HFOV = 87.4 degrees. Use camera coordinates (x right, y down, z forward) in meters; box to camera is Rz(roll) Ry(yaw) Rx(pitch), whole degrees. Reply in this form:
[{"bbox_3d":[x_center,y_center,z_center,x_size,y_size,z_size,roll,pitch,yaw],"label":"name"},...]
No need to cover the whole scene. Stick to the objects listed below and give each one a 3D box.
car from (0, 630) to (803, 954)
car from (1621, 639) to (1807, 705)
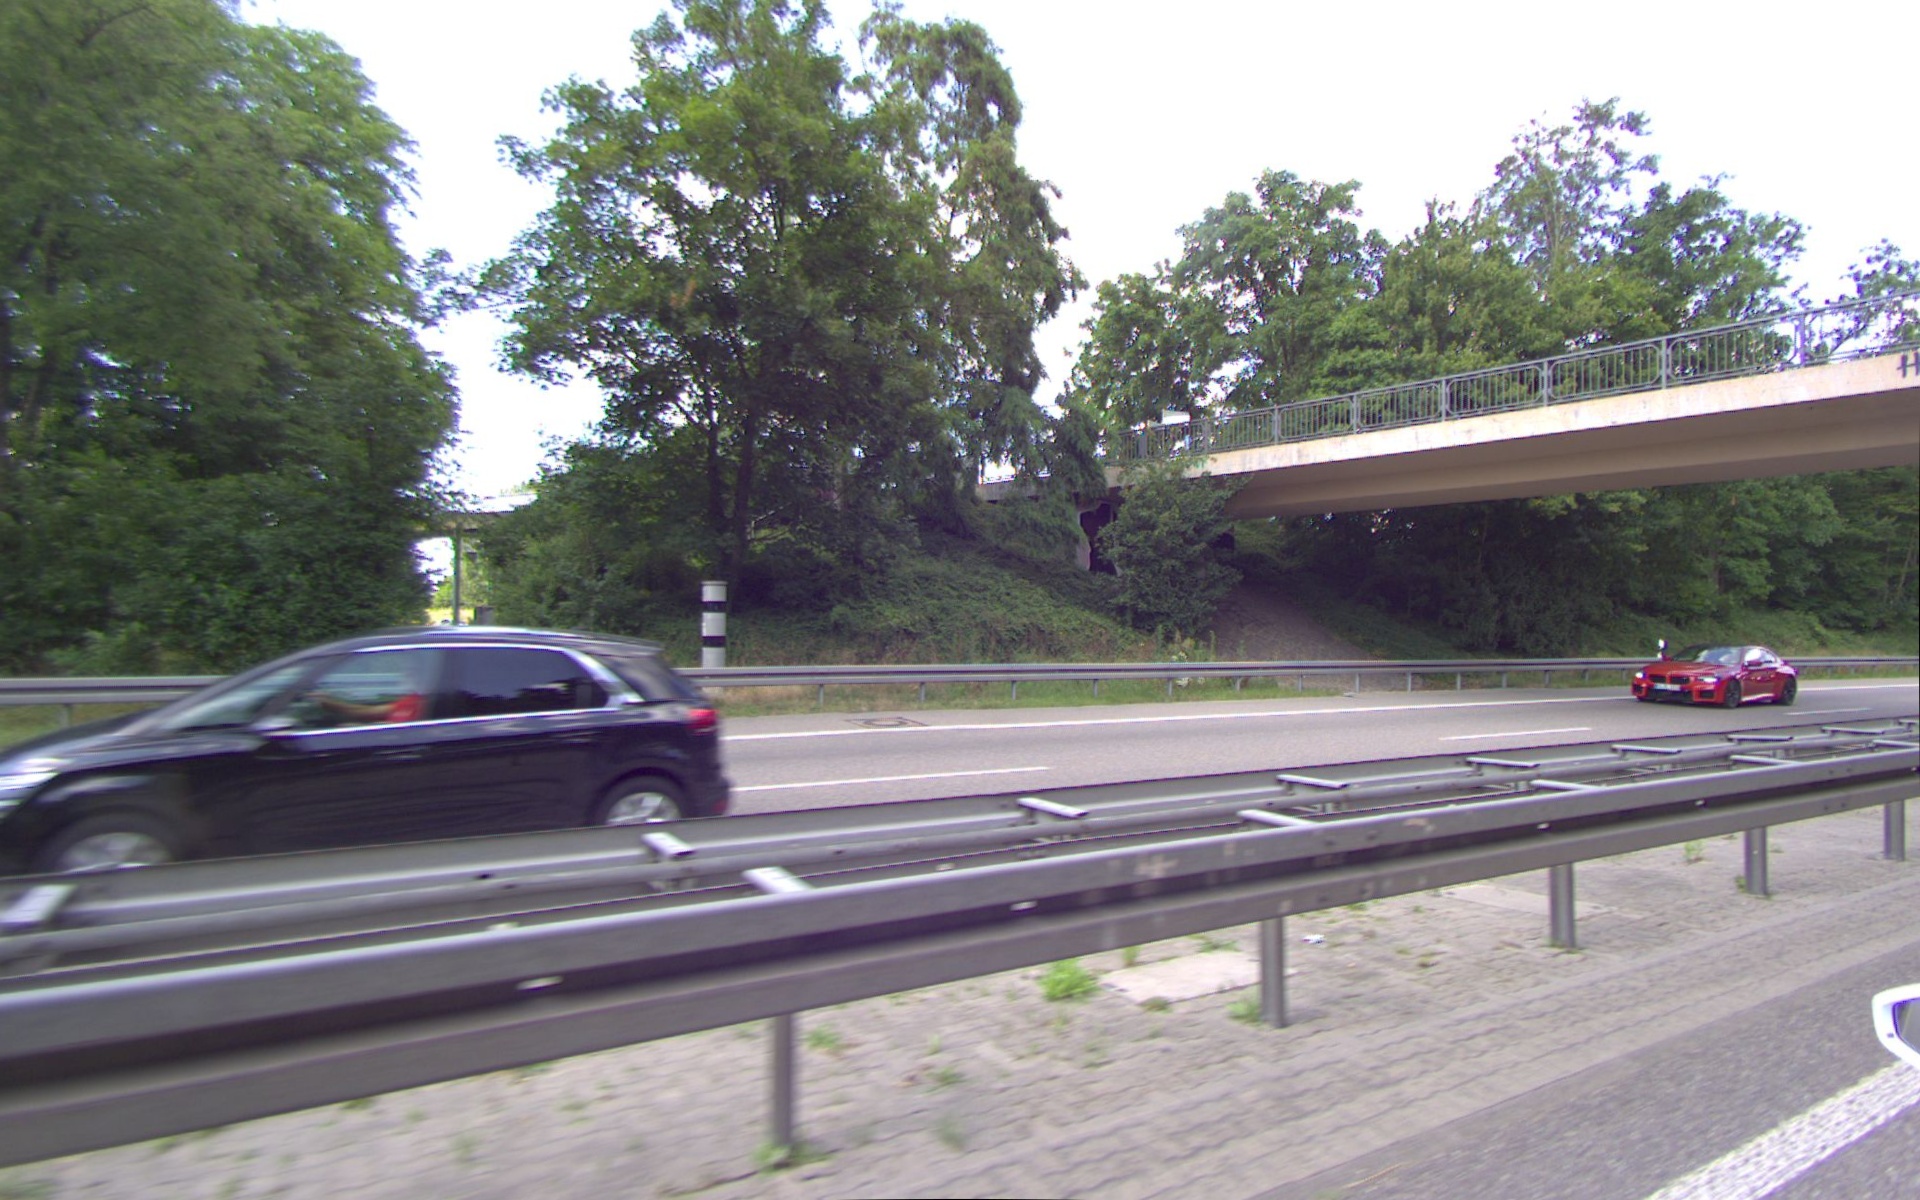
[{"bbox_3d":[-3.532,1.026,6.880,4.512,1.610,1.856,1,-2,-31],"label":"car"},{"bbox_3d":[17.814,1.629,23.672,4.750,1.396,1.855,1,-2,-31],"label":"car"}]
